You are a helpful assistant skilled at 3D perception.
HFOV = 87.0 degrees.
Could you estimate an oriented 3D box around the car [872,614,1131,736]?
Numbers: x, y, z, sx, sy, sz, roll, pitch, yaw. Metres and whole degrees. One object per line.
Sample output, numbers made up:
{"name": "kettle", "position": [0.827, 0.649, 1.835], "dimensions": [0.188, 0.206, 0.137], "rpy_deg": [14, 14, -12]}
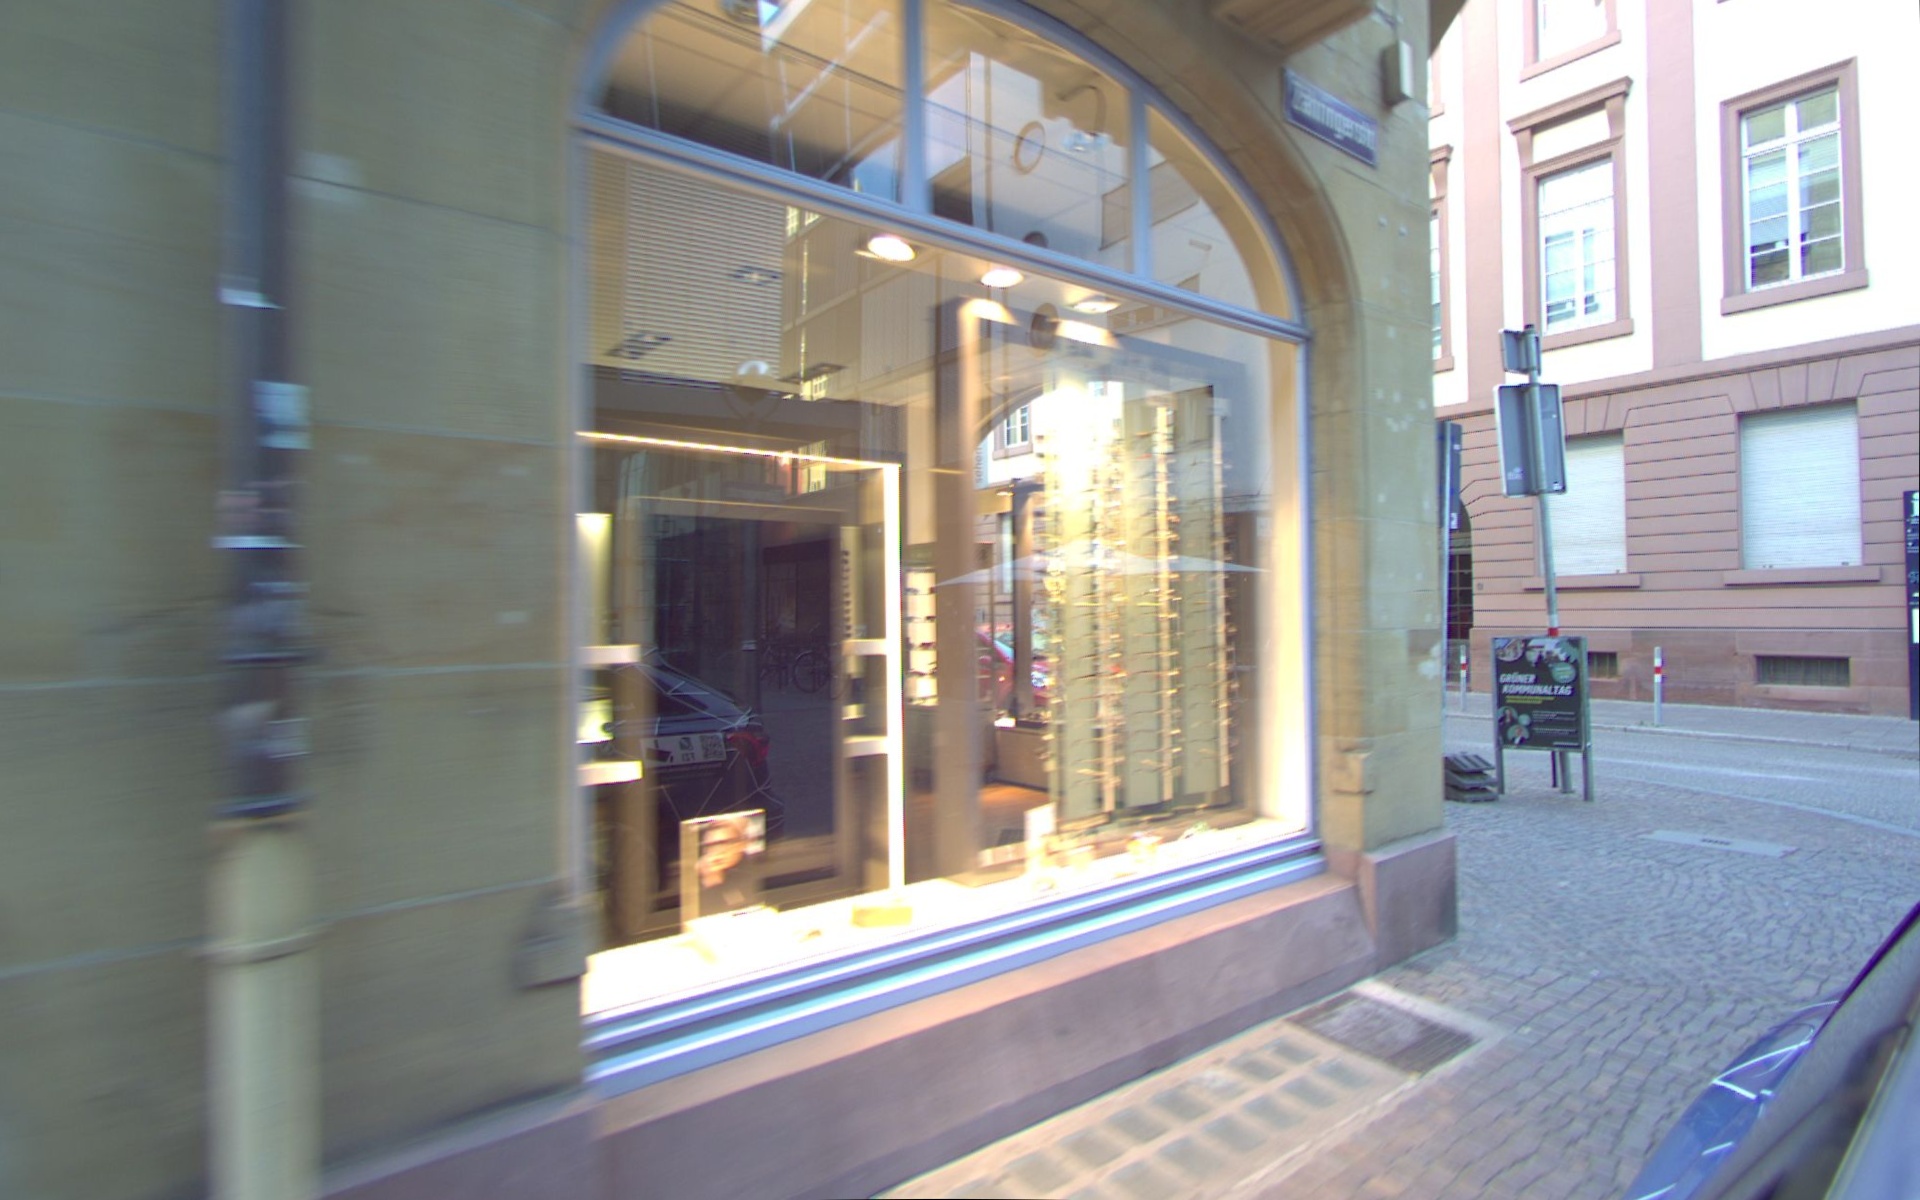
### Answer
{"name": "car", "position": [0.462, 0.990, 14.895], "dimensions": [1.620, 1.460, 3.997], "rpy_deg": [-3, 1, -36]}
